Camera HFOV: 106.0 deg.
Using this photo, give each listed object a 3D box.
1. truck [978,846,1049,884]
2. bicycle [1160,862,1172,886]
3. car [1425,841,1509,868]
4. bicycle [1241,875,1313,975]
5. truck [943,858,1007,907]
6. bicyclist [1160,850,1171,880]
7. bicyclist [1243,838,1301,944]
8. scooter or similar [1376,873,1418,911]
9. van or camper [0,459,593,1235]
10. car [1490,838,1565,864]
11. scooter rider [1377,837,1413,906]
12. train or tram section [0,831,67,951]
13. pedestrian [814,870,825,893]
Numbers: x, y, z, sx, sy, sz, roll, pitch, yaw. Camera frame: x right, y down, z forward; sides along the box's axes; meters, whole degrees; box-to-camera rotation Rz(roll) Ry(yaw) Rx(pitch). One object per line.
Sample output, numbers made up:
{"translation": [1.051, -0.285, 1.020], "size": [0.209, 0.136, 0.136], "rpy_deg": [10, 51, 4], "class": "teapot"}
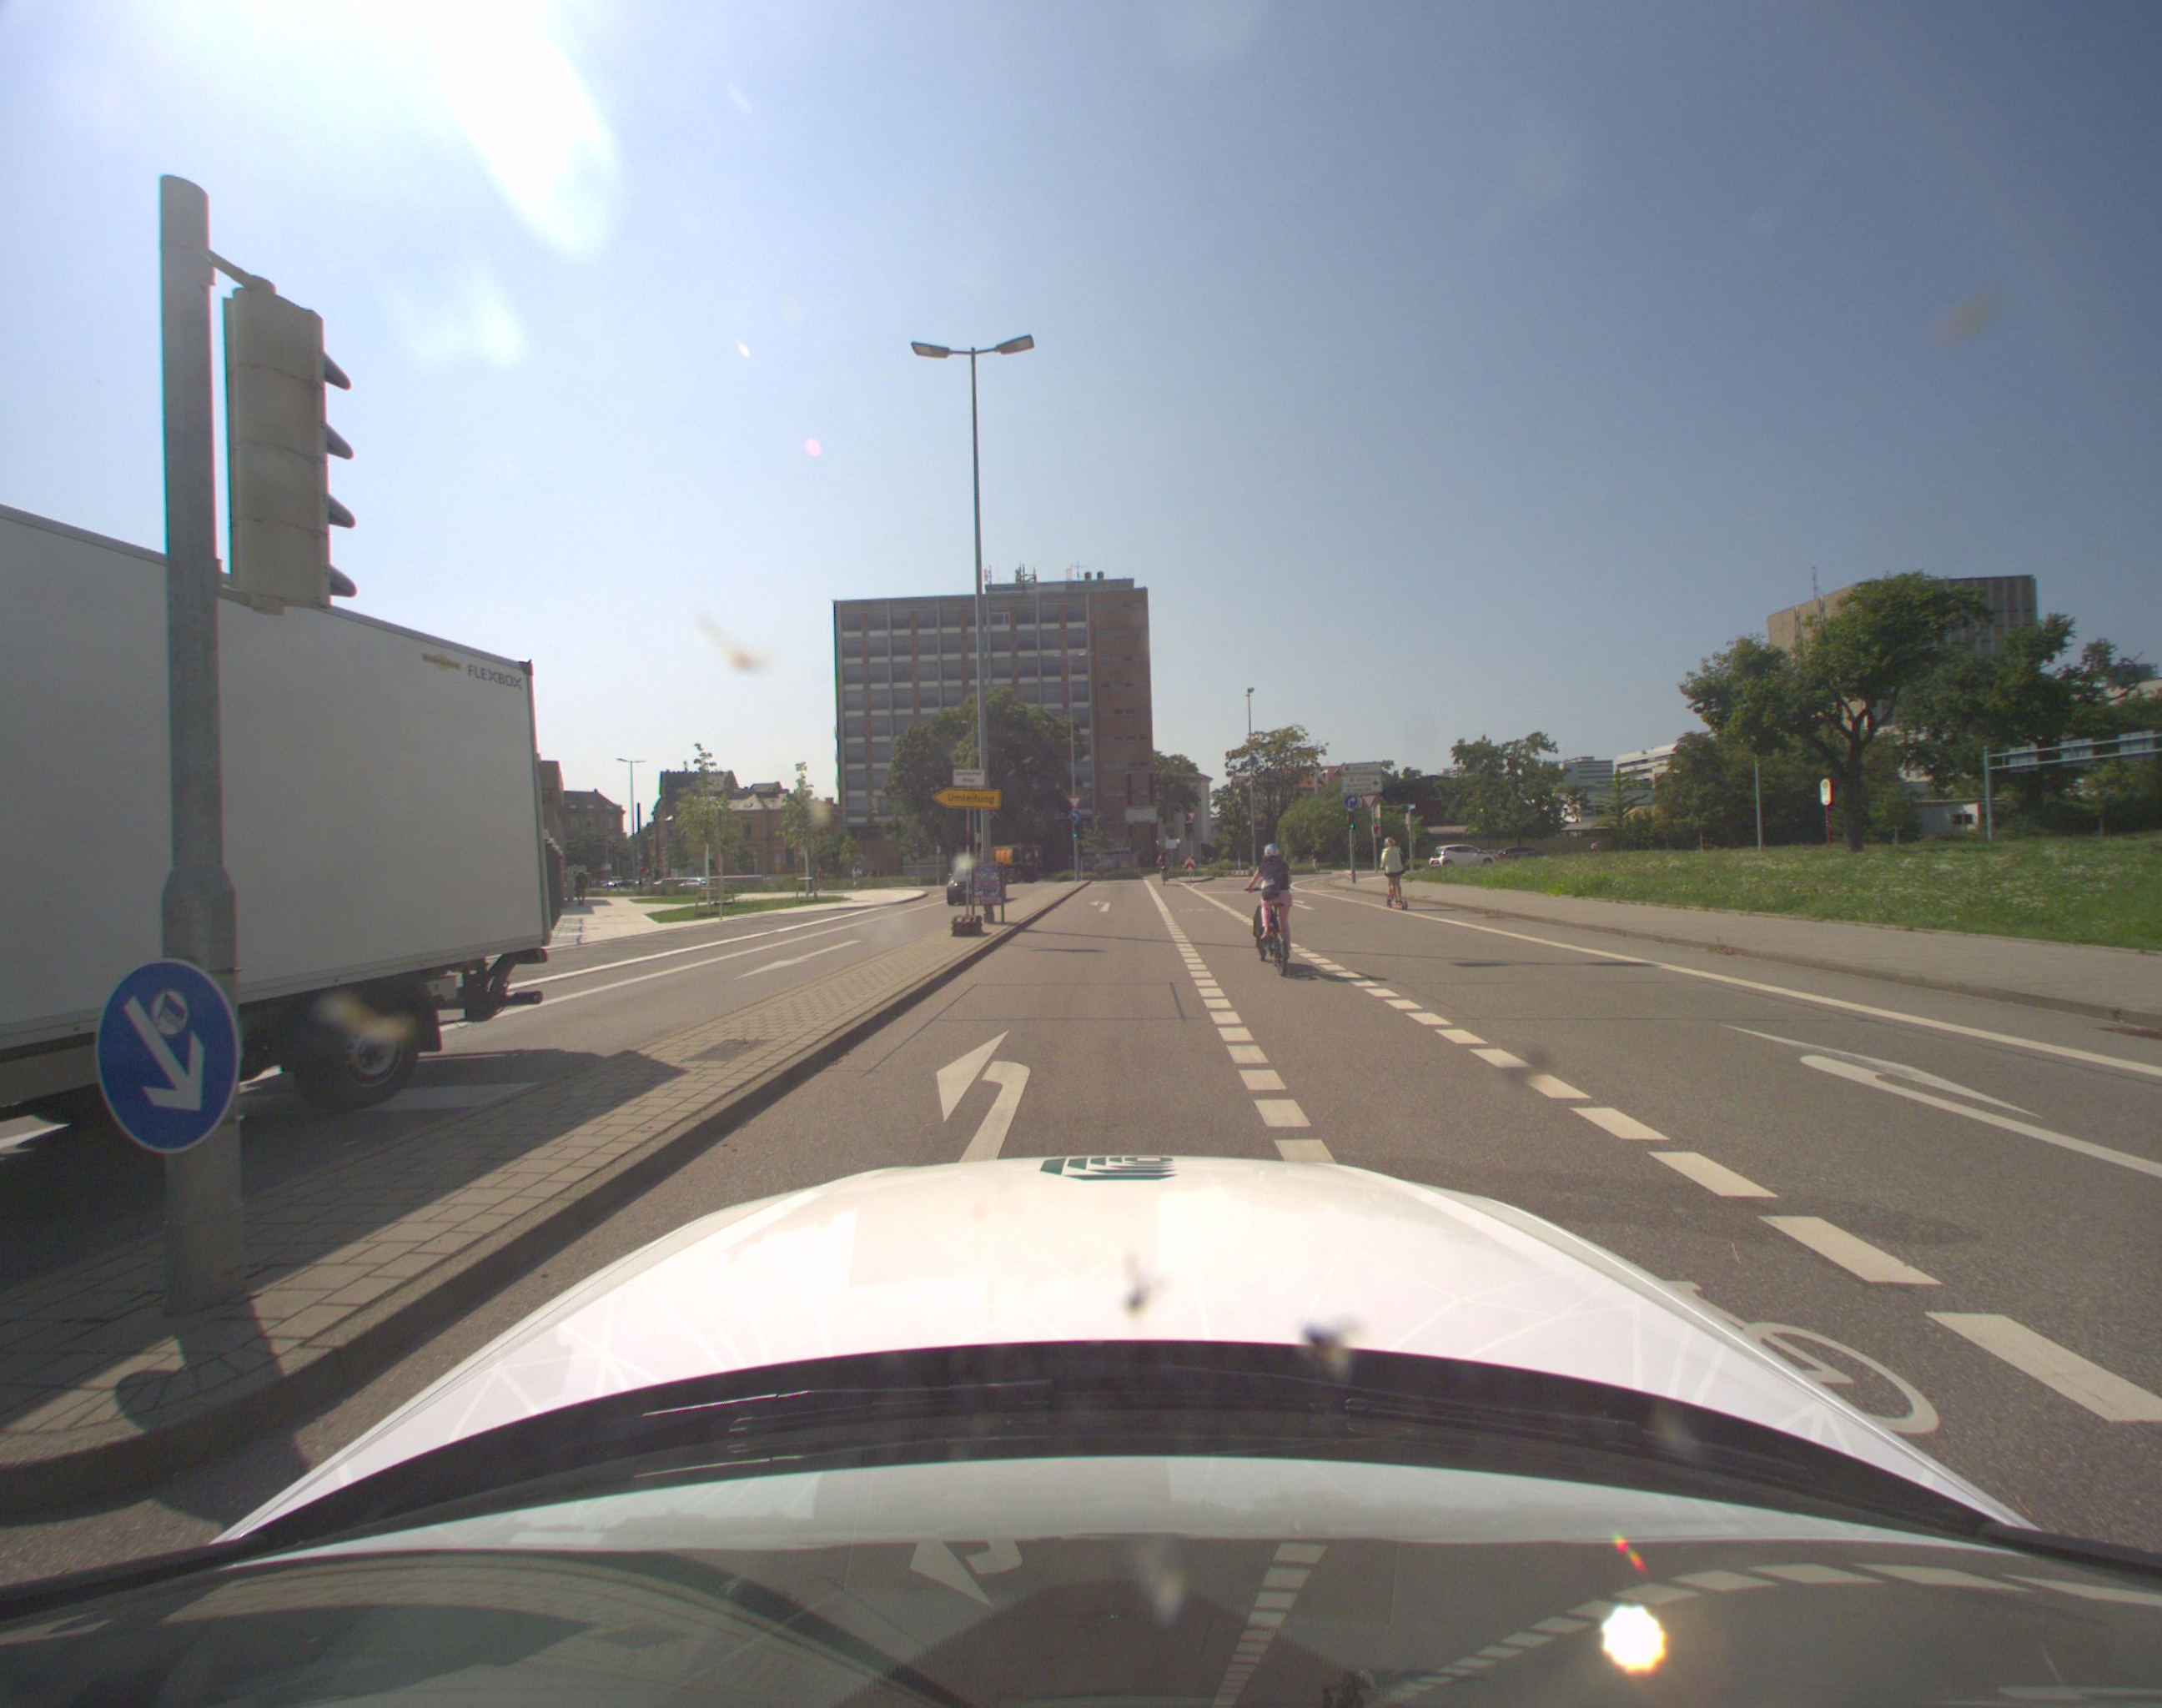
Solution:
{"translation": [-5.616, 0.918, 67.232], "size": [2.720, 2.990, 5.894], "rpy_deg": [-1, -1, -42], "class": "truck"}
{"translation": [4.105, 0.956, 39.470], "size": [0.442, 1.117, 1.447], "rpy_deg": [-2, 0, 2], "class": "bicycle"}
{"translation": [22.400, 0.039, 47.316], "size": [3.976, 1.391, 1.847], "rpy_deg": [-2, -1, -2], "class": "car"}
{"translation": [2.570, 0.893, 10.841], "size": [0.601, 1.163, 1.812], "rpy_deg": [-2, -1, 4], "class": "bicycle"}
{"translation": [-3.588, 0.934, 28.174], "size": [1.549, 1.504, 3.622], "rpy_deg": [-2, 0, 2], "class": "truck"}
{"translation": [4.105, 0.518, 39.731], "size": [0.448, 1.421, 0.496], "rpy_deg": [-2, -1, 2], "class": "bicyclist"}
{"translation": [2.514, 0.477, 10.772], "size": [0.600, 1.335, 0.660], "rpy_deg": [-2, -1, 4], "class": "bicyclist"}
{"translation": [8.342, 0.984, 21.566], "size": [0.767, 0.926, 1.626], "rpy_deg": [-2, 0, 12], "class": "scooter or similar"}
{"translation": [-5.788, -0.001, 3.881], "size": [2.391, 3.306, 7.191], "rpy_deg": [-2, 0, 1], "class": "van or camper"}
{"translation": [30.122, -0.219, 55.029], "size": [3.967, 1.565, 1.826], "rpy_deg": [-2, -1, 5], "class": "car"}
{"translation": [8.329, 0.461, 21.634], "size": [0.757, 1.775, 0.557], "rpy_deg": [-2, -1, 11], "class": "scooter rider"}
{"translation": [-35.100, 1.130, 22.273], "size": [2.905, 4.068, 18.949], "rpy_deg": [-1, -1, -31], "class": "train or tram section"}
{"translation": [-17.823, 1.880, 55.511], "size": [0.534, 1.552, 0.412], "rpy_deg": [-2, -1, -43], "class": "pedestrian"}
